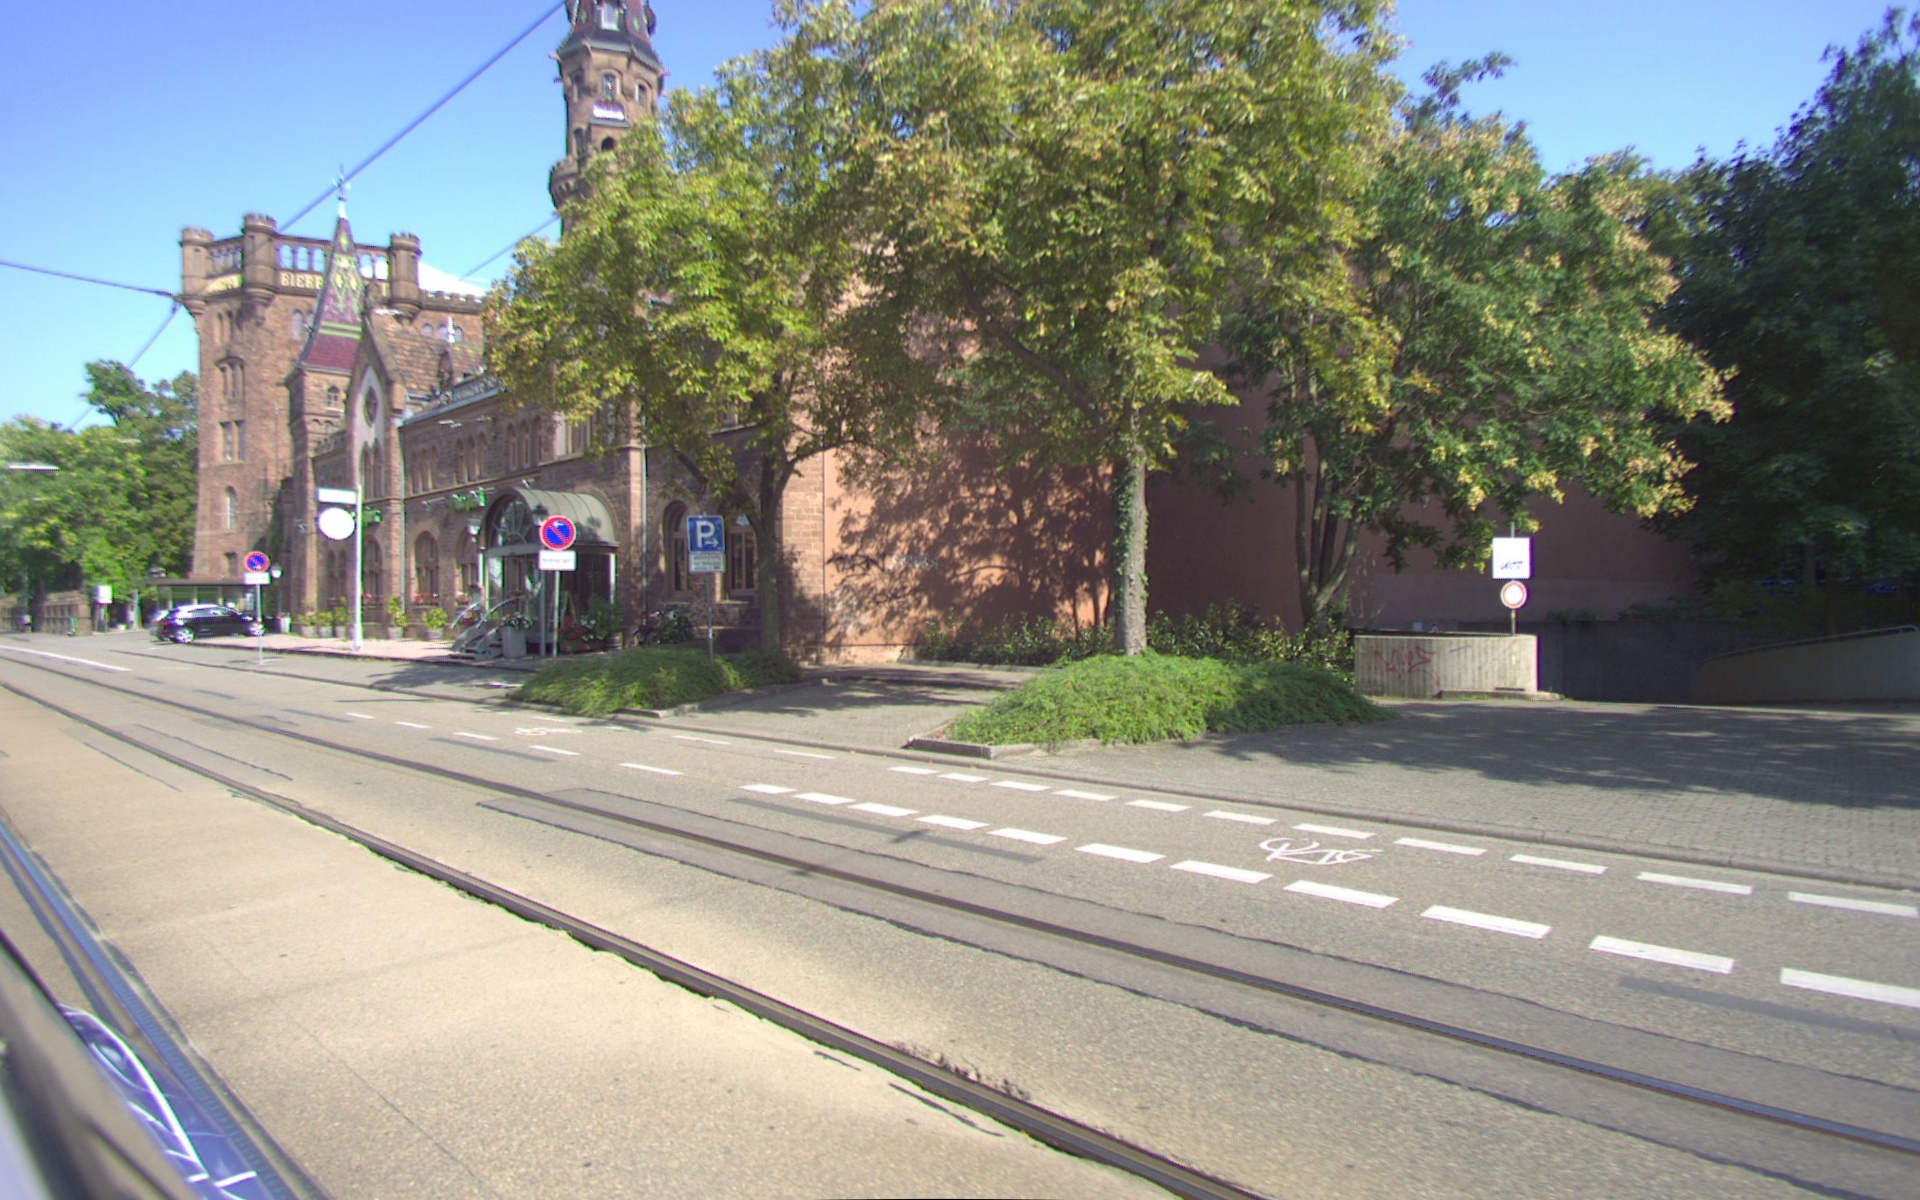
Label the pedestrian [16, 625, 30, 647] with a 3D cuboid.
[{"bbox_3d":[-71.057,2.723,76.771,0.775,1.601,0.708,-1,-1,41],"label":"pedestrian"}]

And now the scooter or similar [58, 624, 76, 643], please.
[{"bbox_3d":[-56.563,2.118,64.098,0.280,1.157,0.816,-1,2,5],"label":"scooter or similar"}]

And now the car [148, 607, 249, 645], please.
[{"bbox_3d":[-39.318,1.335,52.270,1.823,1.607,3.857,-2,3,44],"label":"car"}]

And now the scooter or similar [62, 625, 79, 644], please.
[{"bbox_3d":[-55.613,2.156,63.277,0.280,1.157,0.816,-1,2,5],"label":"scooter or similar"}]

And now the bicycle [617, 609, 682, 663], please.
[{"bbox_3d":[-7.289,0.823,23.847,0.418,1.082,1.797,-1,4,19],"label":"bicycle"}]

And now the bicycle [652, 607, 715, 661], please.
[{"bbox_3d":[-6.413,0.768,23.540,0.418,1.082,1.797,-1,4,19],"label":"bicycle"}]

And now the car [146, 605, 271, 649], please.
[{"bbox_3d":[-35.398,1.236,47.755,1.957,1.657,4.351,-1,3,43],"label":"car"}]

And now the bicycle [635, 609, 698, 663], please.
[{"bbox_3d":[-6.844,0.817,23.705,0.418,1.082,1.797,-1,4,19],"label":"bicycle"}]
